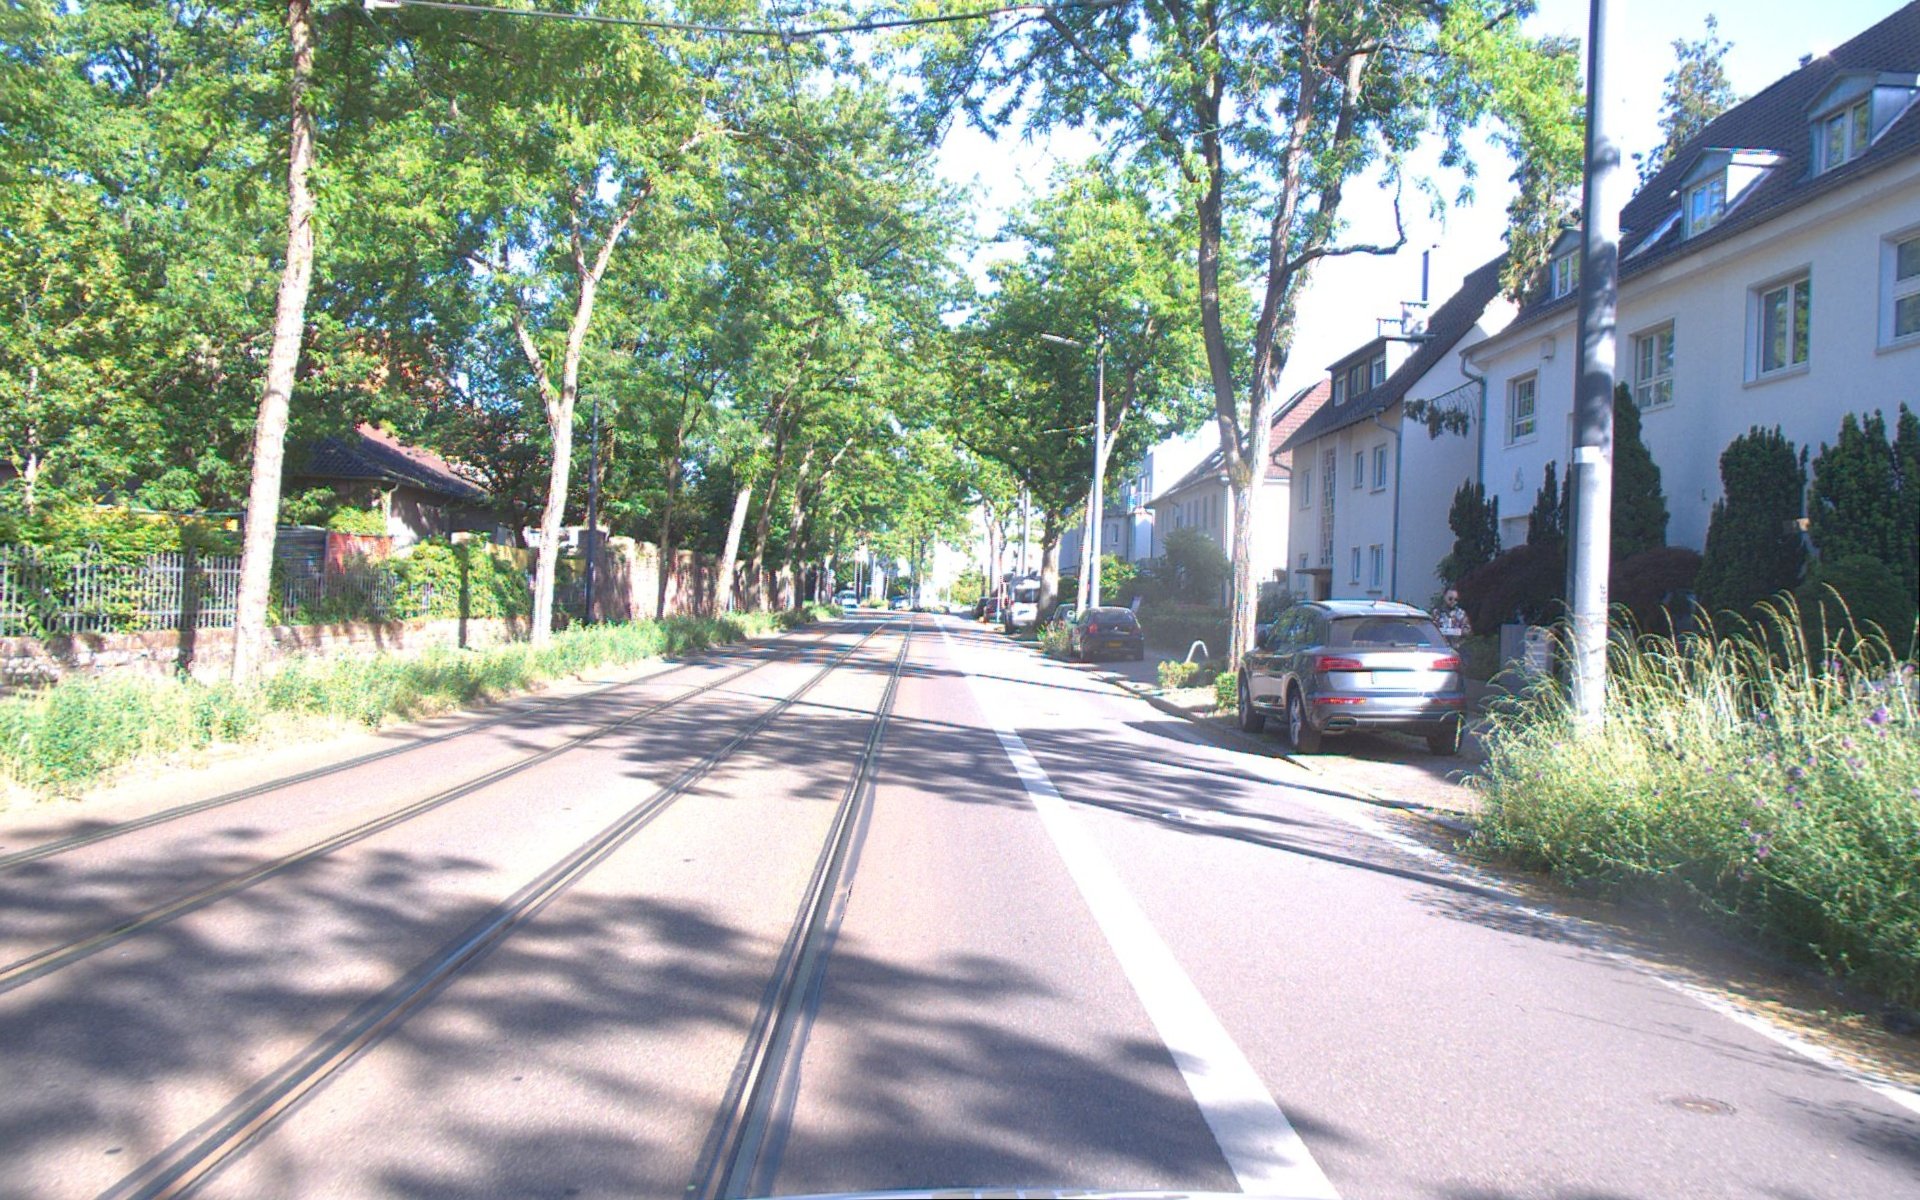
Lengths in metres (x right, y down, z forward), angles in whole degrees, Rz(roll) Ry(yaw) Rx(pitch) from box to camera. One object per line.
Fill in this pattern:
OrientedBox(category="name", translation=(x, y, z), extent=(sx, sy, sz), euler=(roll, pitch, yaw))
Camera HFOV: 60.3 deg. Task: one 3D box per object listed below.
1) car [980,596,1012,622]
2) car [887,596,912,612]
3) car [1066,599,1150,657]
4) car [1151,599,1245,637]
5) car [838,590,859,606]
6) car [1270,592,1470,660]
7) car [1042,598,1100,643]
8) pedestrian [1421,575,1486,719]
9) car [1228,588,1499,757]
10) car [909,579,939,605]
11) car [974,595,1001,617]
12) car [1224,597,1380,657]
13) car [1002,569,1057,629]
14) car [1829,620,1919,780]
OrientedBox(category="car", translation=(2.359, 0.570, 109.338), extent=(1.962, 1.704, 4.391), euler=(0, 0, -2))
OrientedBox(category="car", translation=(-6.598, 0.422, 180.264), extent=(1.969, 1.588, 4.377), euler=(1, 0, -14))
OrientedBox(category="car", translation=(4.066, 0.754, 46.075), extent=(1.748, 1.473, 4.298), euler=(-1, 0, -3))
OrientedBox(category="car", translation=(9.428, 0.702, 65.616), extent=(3.340, 1.461, 1.728), euler=(0, 0, -15))
OrientedBox(category="car", translation=(-12.255, -0.277, 181.723), extent=(1.832, 1.704, 4.163), euler=(1, 0, -10))
OrientedBox(category="car", translation=(9.744, 0.607, 39.569), extent=(4.330, 1.515, 1.859), euler=(-1, 0, 1))
OrientedBox(category="car", translation=(3.718, 0.665, 55.684), extent=(1.594, 1.422, 3.644), euler=(-1, 0, -2))
OrientedBox(category="pedestrian", translation=(6.636, 0.618, 22.257), extent=(0.613, 1.903, 0.732), euler=(-1, 0, -2))
OrientedBox(category="car", translation=(4.605, 0.754, 19.614), extent=(1.953, 1.734, 4.475), euler=(-1, 0, -2))
OrientedBox(category="car", translation=(-3.528, -0.776, 162.589), extent=(1.960, 2.501, 4.492), euler=(1, 0, -14))
OrientedBox(category="car", translation=(2.157, 0.446, 126.805), extent=(1.961, 1.704, 4.394), euler=(0, 0, 2))
OrientedBox(category="car", translation=(8.943, 0.695, 43.445), extent=(3.667, 1.515, 1.737), euler=(0, 0, -7))
OrientedBox(category="car", translation=(3.209, -0.058, 77.227), extent=(2.200, 2.700, 5.583), euler=(0, 0, -2))
OrientedBox(category="car", translation=(10.330, 0.939, 14.945), extent=(3.969, 1.366, 1.877), euler=(2, 0, -2))
